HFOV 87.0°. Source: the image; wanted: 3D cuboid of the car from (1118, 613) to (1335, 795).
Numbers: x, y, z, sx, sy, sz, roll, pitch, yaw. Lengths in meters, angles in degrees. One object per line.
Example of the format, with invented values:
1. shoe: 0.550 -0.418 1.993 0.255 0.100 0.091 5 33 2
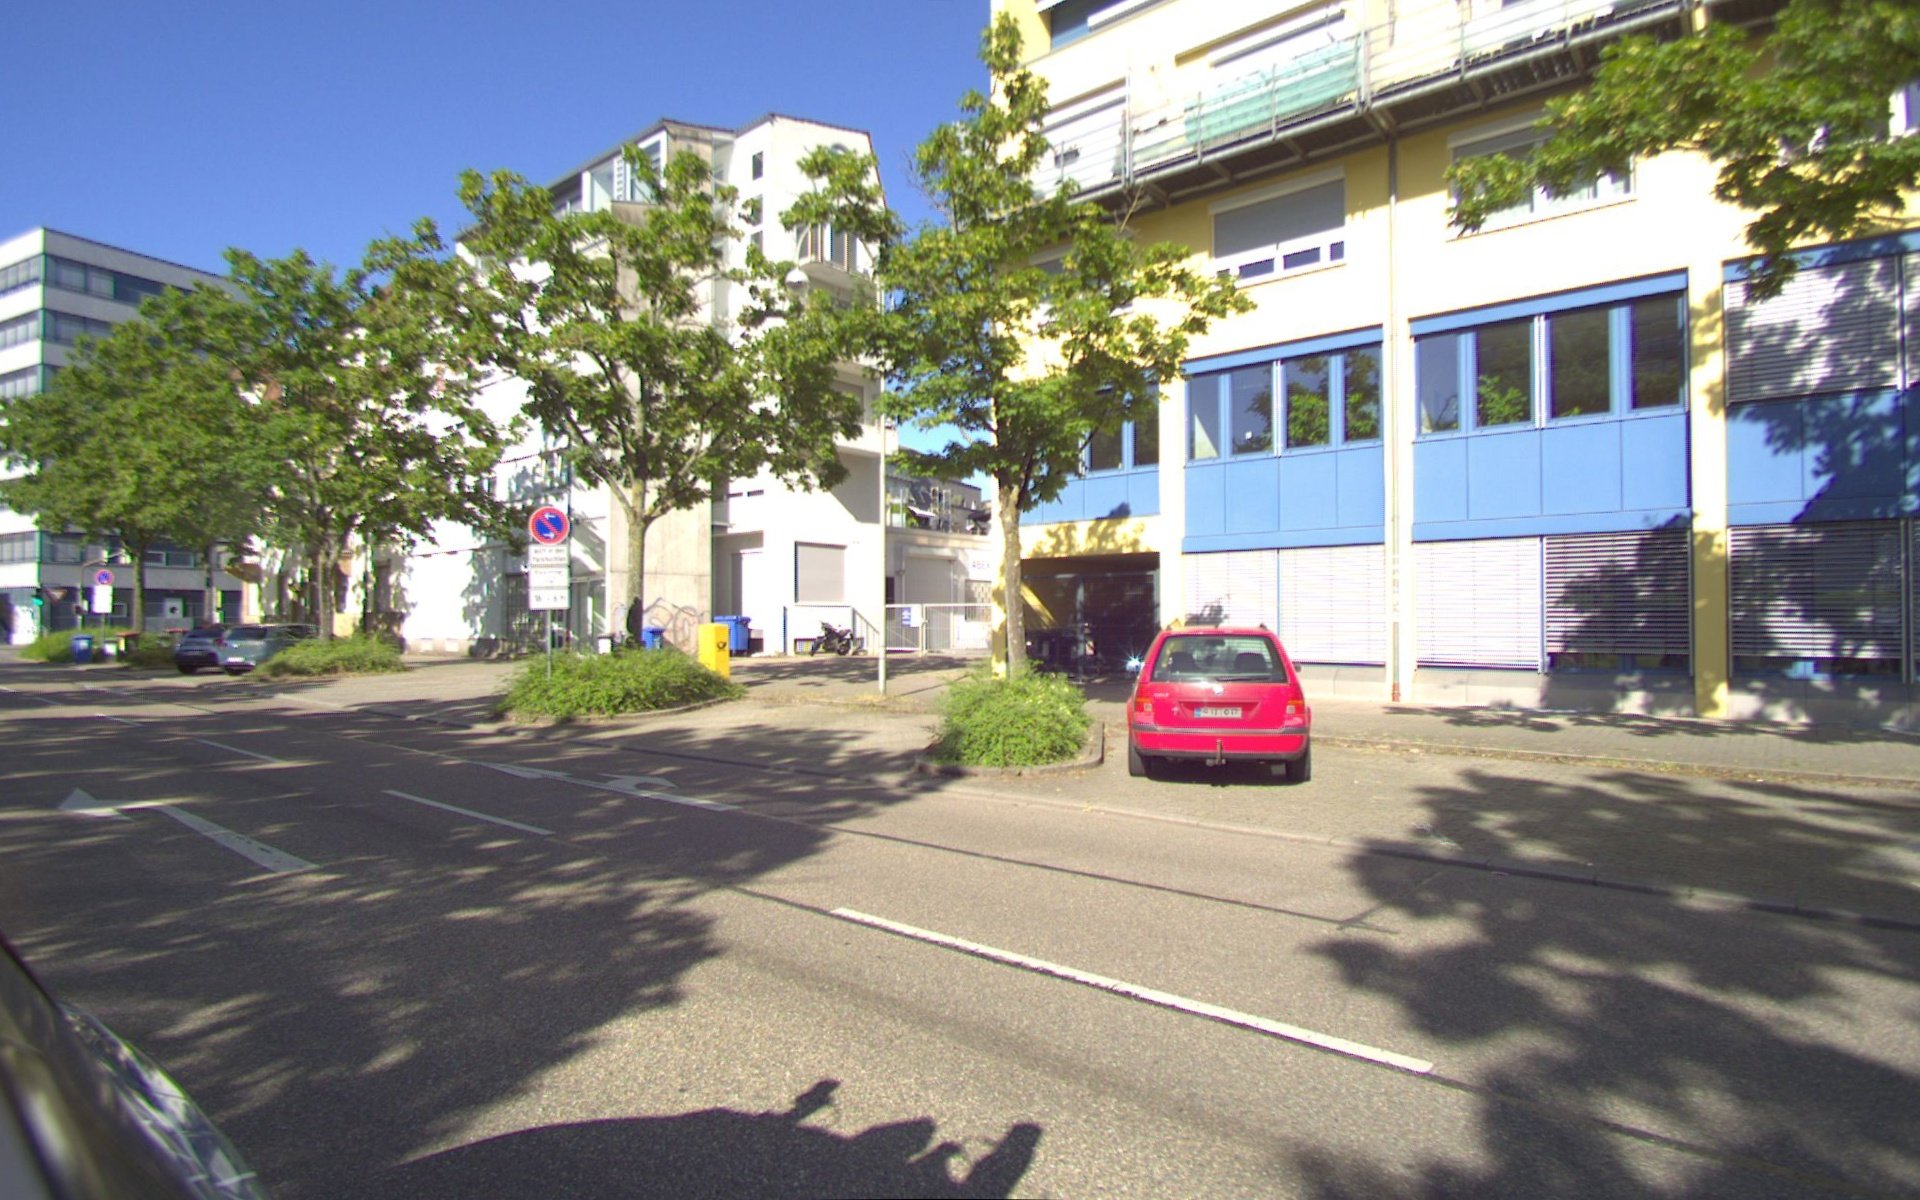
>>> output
1. car: 2.688 0.903 10.654 1.752 1.487 4.218 -1 -1 12

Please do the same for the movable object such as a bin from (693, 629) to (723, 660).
1. movable object such as a bin: -8.162 1.426 32.774 0.688 0.980 0.615 -1 -2 35

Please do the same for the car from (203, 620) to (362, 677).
1. car: -19.802 1.384 29.786 1.788 1.475 3.993 0 0 5

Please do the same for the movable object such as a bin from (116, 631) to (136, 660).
1. movable object such as a bin: -31.934 1.744 38.774 0.469 1.048 0.544 -1 0 -26

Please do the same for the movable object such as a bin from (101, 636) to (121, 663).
1. movable object such as a bin: -31.728 1.833 37.823 0.469 0.967 0.544 -1 0 -29

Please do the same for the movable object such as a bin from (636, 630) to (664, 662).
1. movable object such as a bin: -9.585 1.415 31.301 0.574 0.980 0.615 -1 -2 35

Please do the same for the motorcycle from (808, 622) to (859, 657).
1. motorcycle: -4.275 1.325 34.196 0.526 1.143 1.894 -1 -2 38

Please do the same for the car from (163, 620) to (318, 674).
1. car: -22.237 1.403 31.494 1.788 1.475 3.993 0 0 5

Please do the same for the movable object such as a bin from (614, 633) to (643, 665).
1. movable object such as a bin: -10.058 1.479 30.673 0.574 0.935 0.615 -1 -2 35

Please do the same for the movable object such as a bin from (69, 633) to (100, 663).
1. movable object such as a bin: -32.428 1.764 37.494 0.664 1.082 0.805 1 -2 -26

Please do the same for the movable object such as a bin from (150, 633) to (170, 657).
1. movable object such as a bin: -31.701 1.790 40.103 0.469 0.951 0.544 1 -2 -26

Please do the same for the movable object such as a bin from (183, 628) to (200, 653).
1. movable object such as a bin: -32.695 1.713 43.050 0.469 1.070 0.552 1 -2 -26

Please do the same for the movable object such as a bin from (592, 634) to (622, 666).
1. movable object such as a bin: -10.485 1.481 30.099 0.574 0.935 0.615 -1 -2 35

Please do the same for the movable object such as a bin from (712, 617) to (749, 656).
1. movable object such as a bin: -7.634 1.201 33.653 1.118 1.289 0.614 -1 -2 35
